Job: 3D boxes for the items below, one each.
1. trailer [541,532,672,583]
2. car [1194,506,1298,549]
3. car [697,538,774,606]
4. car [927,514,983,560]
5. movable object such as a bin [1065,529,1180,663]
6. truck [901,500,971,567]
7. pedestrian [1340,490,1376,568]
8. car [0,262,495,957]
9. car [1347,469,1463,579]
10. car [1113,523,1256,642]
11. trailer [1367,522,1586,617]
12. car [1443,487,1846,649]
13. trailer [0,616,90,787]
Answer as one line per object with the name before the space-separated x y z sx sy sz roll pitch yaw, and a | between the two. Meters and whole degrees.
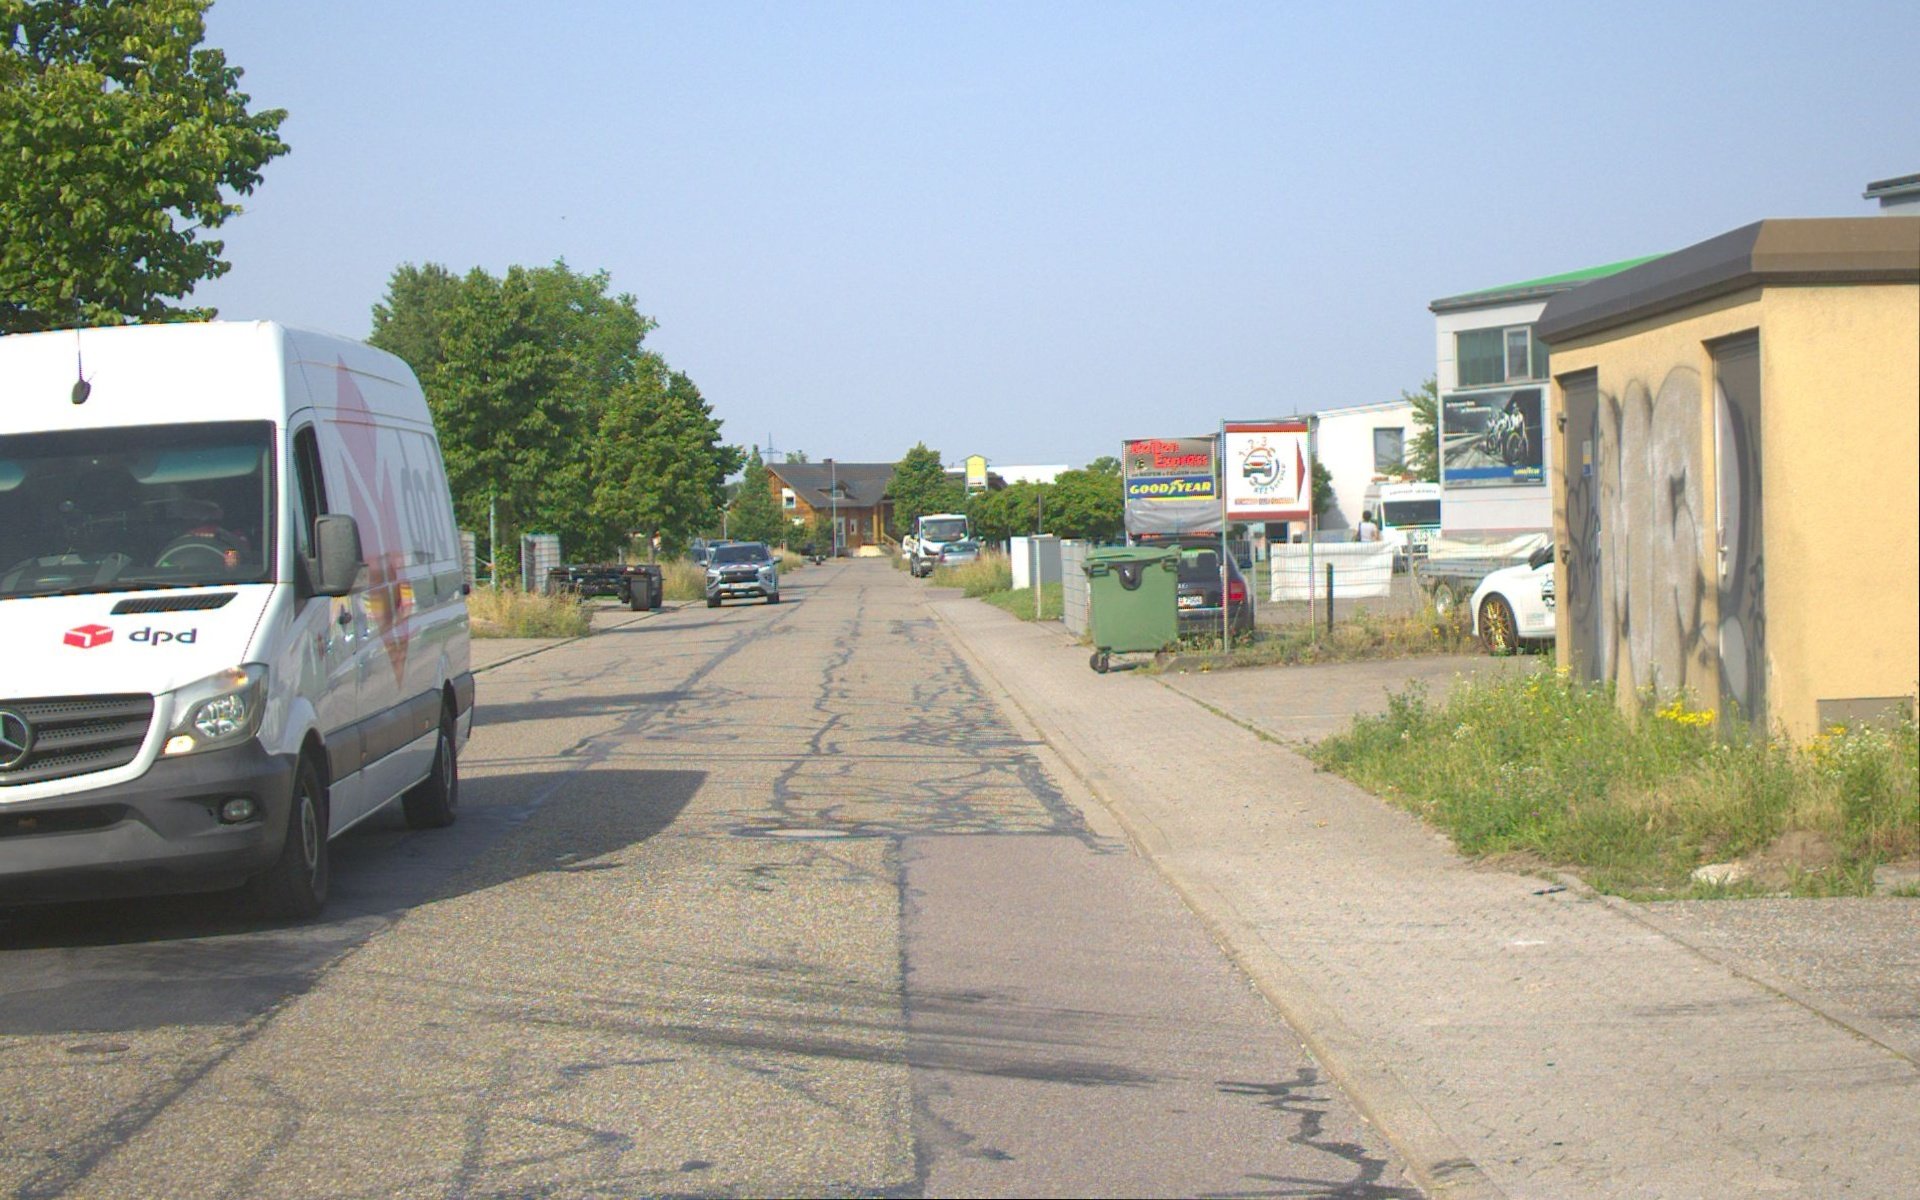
trailer | -8.732 -1.097 85.790 2.582 1.180 9.364 0 1 -2
car | 11.588 -2.949 139.117 1.686 1.583 4.522 -1 2 44
car | -5.811 -0.749 89.471 1.811 1.621 4.250 -2 1 -2
car | -0.194 -2.243 121.619 1.794 1.512 4.425 -2 1 -2
movable object such as a bin | 1.753 -0.062 37.344 1.081 1.348 1.506 -4 1 0
truck | -1.039 -2.813 145.341 2.359 2.672 6.512 -2 1 -5
pedestrian | 8.458 -1.506 73.111 0.702 1.634 0.749 -2 1 7
car | -3.661 -0.025 16.264 1.993 2.538 6.990 -3 1 -1
car | 11.481 -1.967 89.096 1.974 2.696 5.881 -2 1 -2
car | 2.806 -0.258 43.286 1.674 1.364 4.393 -2 1 3
trailer | 7.006 -0.433 46.815 1.490 1.244 2.978 -1 1 -27
car | 6.723 -0.326 34.212 1.687 1.461 4.263 -2 1 -25
trailer | -7.200 0.724 20.433 2.648 0.982 6.244 -2 1 -2
